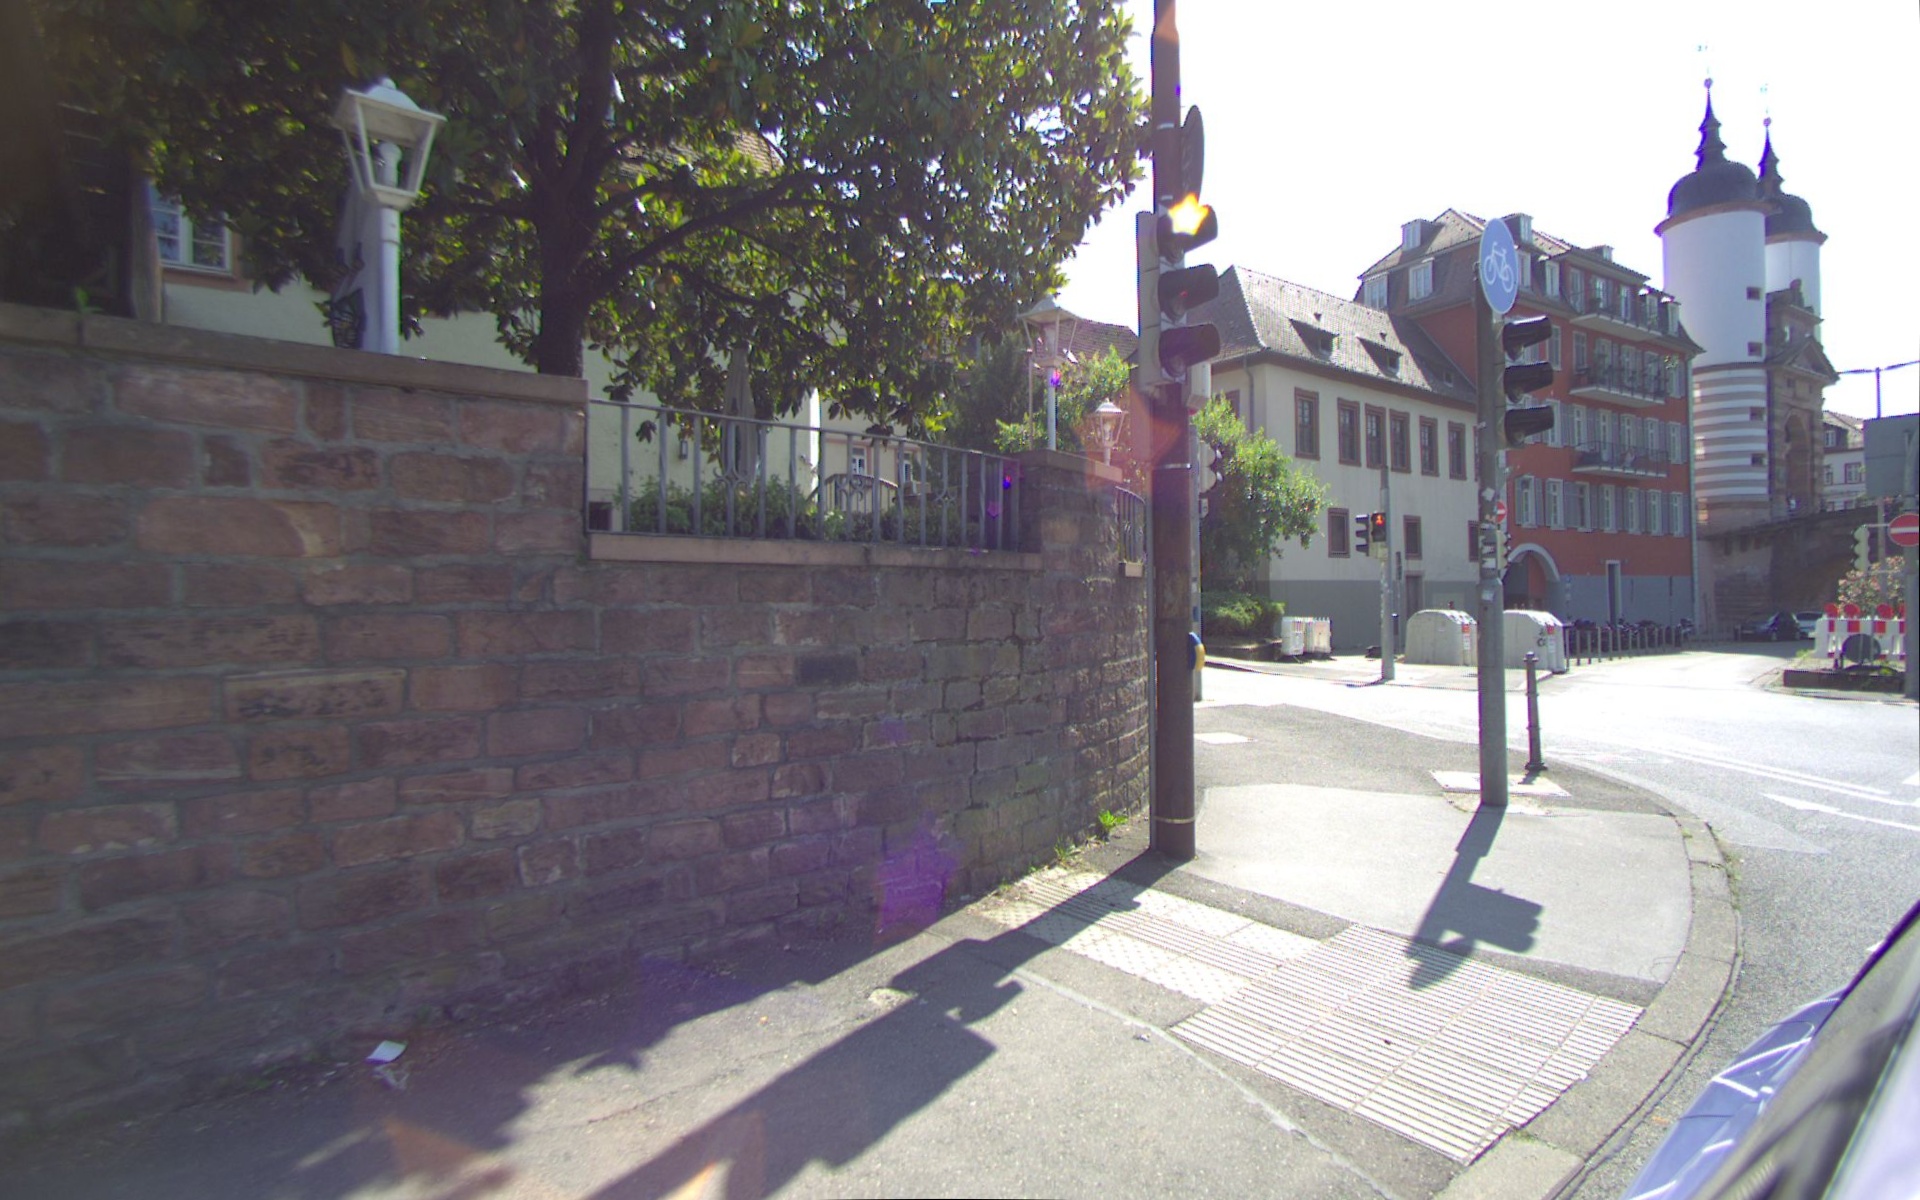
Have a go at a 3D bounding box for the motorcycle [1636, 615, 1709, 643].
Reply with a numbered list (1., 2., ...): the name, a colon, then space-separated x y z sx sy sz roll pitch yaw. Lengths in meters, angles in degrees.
1. motorcycle: 31.767 1.289 45.135 2.505 1.249 0.839 0 -1 13

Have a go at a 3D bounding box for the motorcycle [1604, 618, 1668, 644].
1. motorcycle: 28.822 1.324 43.175 2.162 1.090 0.626 -1 0 10

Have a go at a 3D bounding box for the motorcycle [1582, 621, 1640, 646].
1. motorcycle: 26.524 1.348 41.229 1.901 0.999 0.546 -1 0 10

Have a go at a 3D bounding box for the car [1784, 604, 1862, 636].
1. car: 45.379 1.016 53.202 4.330 1.511 1.900 -1 1 -32

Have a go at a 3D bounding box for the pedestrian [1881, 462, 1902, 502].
1. pedestrian: 49.491 -6.258 53.782 0.693 2.039 0.641 -2 1 -34

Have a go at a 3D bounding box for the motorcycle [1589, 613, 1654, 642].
1. motorcycle: 27.650 1.154 42.320 2.162 1.162 0.626 -1 0 10

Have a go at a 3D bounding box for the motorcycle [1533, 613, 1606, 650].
1. motorcycle: 22.245 1.144 36.979 2.169 1.283 0.625 -1 0 19

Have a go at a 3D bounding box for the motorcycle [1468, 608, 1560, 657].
1. motorcycle: 18.454 1.073 33.780 2.462 1.552 1.048 -1 0 16

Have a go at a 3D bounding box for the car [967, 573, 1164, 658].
1. car: 2.203 0.299 21.913 1.828 1.504 3.994 5 -1 -42

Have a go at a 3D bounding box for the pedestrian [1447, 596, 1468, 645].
1. pedestrian: 19.114 0.772 38.906 0.608 1.845 0.495 -2 1 -40

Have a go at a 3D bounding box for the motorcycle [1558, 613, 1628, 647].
1. motorcycle: 24.506 1.141 39.219 2.154 1.283 0.778 -1 0 18

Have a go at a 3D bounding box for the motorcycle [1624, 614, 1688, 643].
1. motorcycle: 30.362 1.236 44.169 2.120 1.249 0.839 0 -1 13

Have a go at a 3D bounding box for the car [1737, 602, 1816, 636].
1. car: 41.099 0.954 50.938 3.733 1.562 1.679 -1 -1 -28

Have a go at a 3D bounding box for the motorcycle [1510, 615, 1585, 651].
1. motorcycle: 20.846 1.169 35.969 2.207 1.268 0.625 -1 0 19
